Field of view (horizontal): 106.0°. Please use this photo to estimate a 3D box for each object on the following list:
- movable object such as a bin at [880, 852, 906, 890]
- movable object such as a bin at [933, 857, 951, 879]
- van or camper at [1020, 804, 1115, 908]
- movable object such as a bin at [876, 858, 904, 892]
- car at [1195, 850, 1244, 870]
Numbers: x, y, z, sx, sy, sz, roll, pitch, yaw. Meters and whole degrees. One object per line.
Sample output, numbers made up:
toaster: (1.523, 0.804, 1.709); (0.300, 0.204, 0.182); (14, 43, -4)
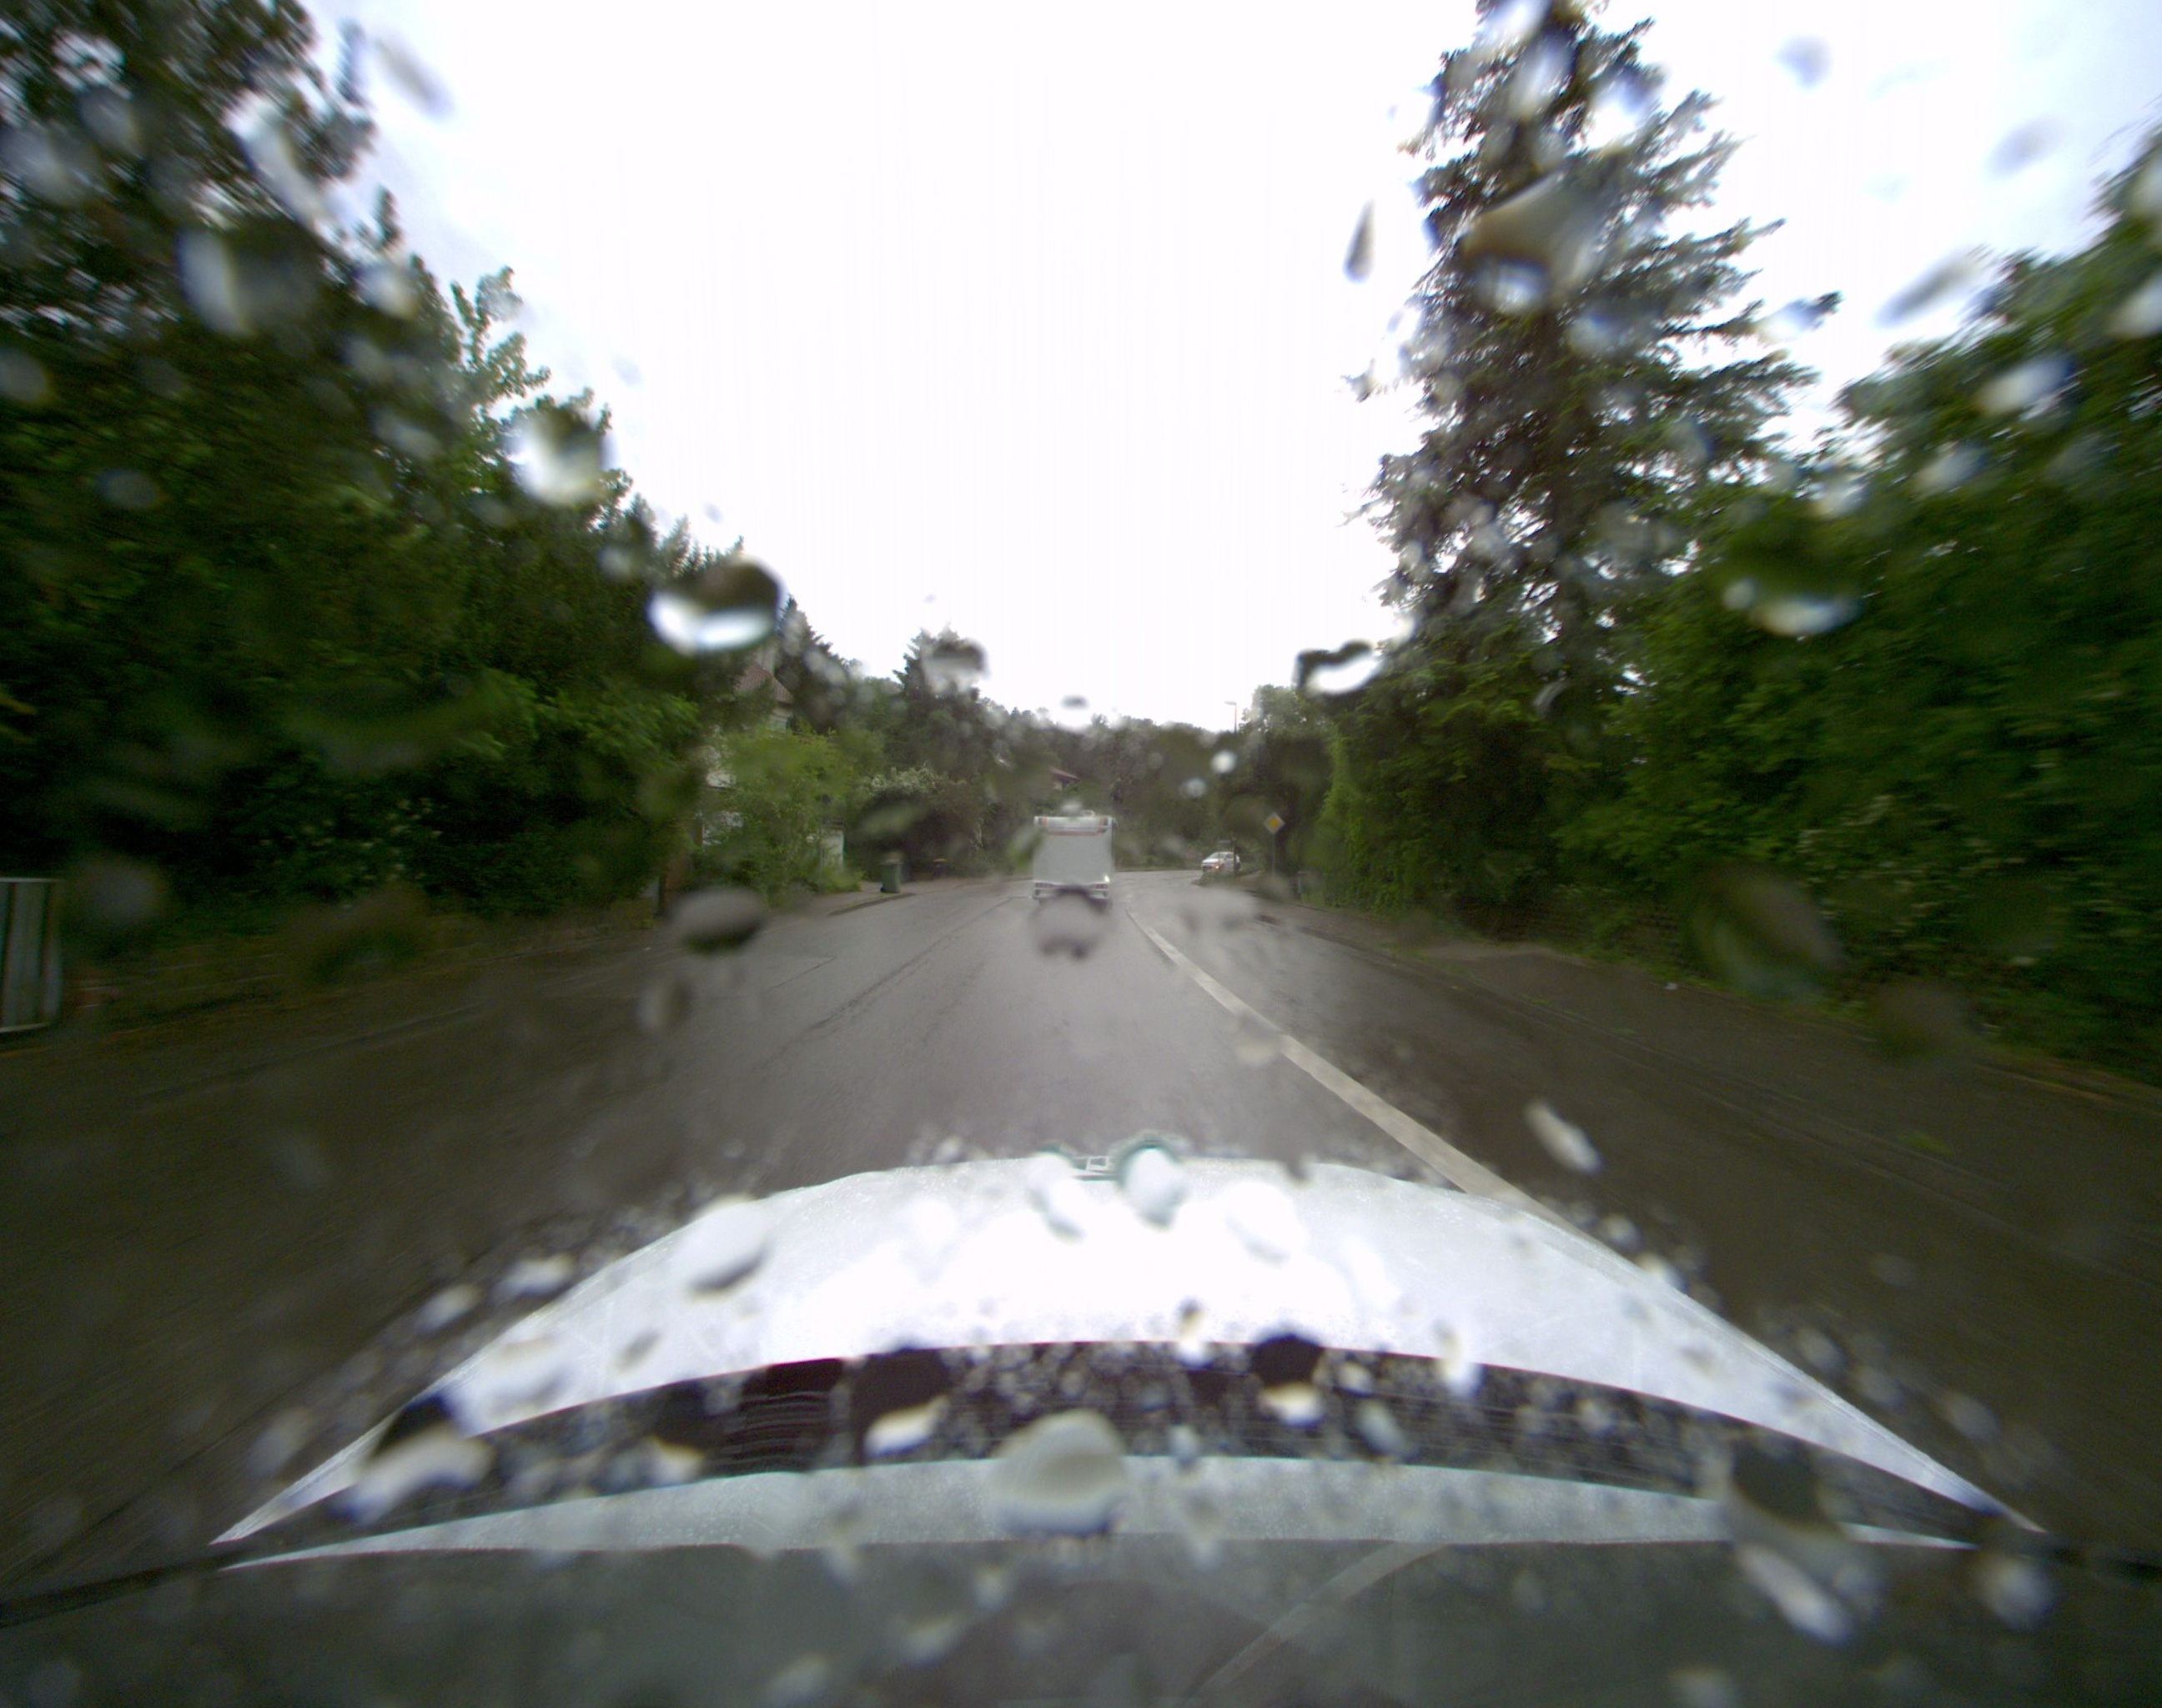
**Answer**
movable object such as a bin: (-6.465, 0.576, 27.989); (0.739, 1.253, 0.757); (-1, 0, -3)
movable object such as a bin: (-6.765, 0.682, 39.576); (0.753, 1.022, 0.743); (-1, 0, -1)
van or camper: (-0.274, 0.117, 25.680); (2.606, 2.853, 6.033); (-1, -1, 2)
movable object such as a bin: (-6.351, 0.688, 27.097); (0.739, 1.094, 0.757); (-1, 0, -3)
car: (10.561, 0.442, 62.144); (1.873, 1.387, 4.025); (-4, -1, 39)
